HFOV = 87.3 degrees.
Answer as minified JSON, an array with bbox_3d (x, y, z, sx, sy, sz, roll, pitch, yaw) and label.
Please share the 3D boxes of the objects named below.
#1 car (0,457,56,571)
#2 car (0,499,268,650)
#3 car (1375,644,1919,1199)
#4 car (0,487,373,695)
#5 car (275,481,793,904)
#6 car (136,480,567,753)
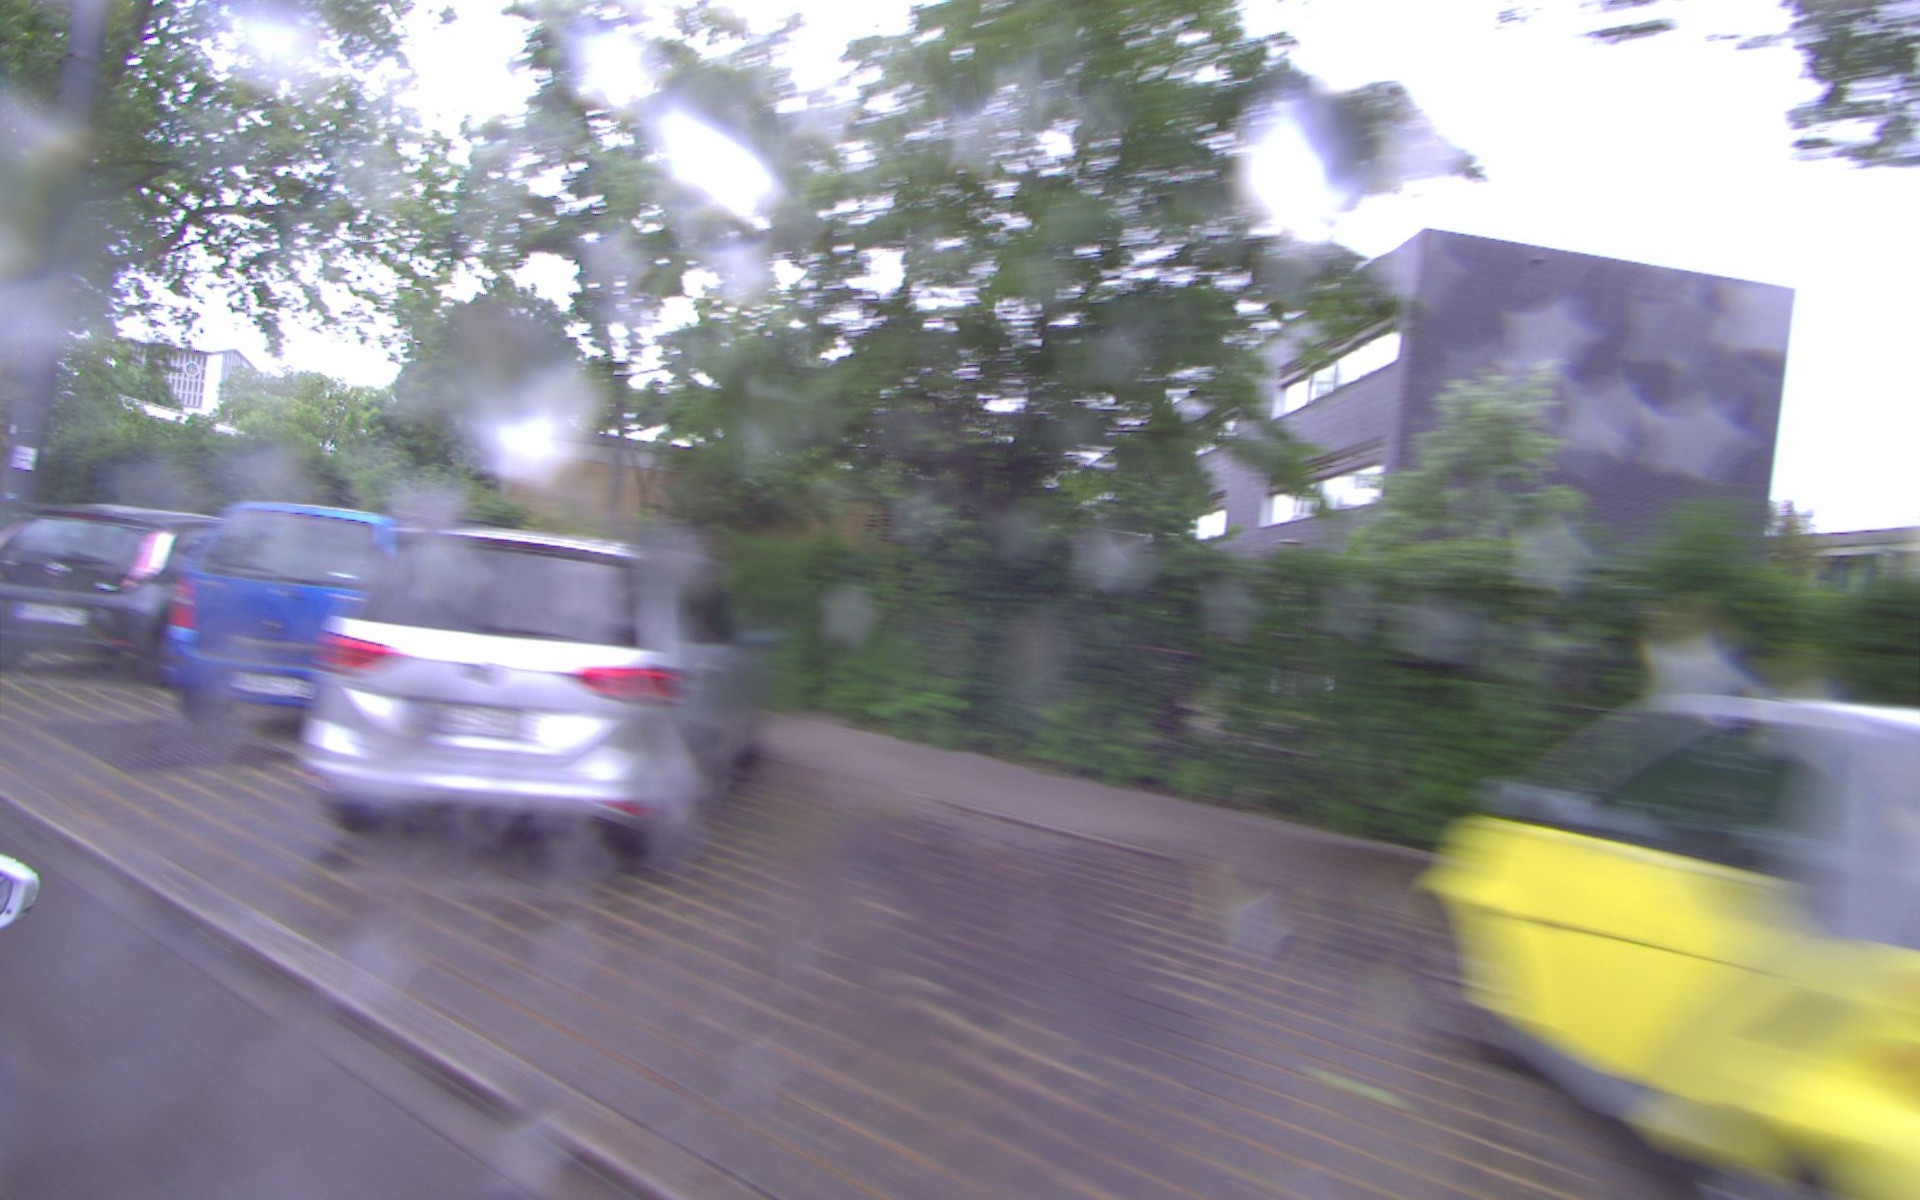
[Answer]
[{"bbox_3d":[-18.270,-1.653,16.697,1.964,2.039,5.025,7,1,-2],"label":"car"},{"bbox_3d":[-10.060,-0.331,11.428,1.711,1.401,4.301,7,-1,-7],"label":"car"},{"bbox_3d":[2.674,1.030,3.108,1.573,1.485,2.904,6,1,3],"label":"car"},{"bbox_3d":[-7.491,-0.134,9.654,1.817,1.538,3.400,6,1,-5],"label":"car"},{"bbox_3d":[-2.181,0.400,6.400,1.625,1.661,4.044,7,0,-4],"label":"car"},{"bbox_3d":[-4.748,0.094,8.425,1.563,1.693,3.272,6,1,-2],"label":"car"}]
